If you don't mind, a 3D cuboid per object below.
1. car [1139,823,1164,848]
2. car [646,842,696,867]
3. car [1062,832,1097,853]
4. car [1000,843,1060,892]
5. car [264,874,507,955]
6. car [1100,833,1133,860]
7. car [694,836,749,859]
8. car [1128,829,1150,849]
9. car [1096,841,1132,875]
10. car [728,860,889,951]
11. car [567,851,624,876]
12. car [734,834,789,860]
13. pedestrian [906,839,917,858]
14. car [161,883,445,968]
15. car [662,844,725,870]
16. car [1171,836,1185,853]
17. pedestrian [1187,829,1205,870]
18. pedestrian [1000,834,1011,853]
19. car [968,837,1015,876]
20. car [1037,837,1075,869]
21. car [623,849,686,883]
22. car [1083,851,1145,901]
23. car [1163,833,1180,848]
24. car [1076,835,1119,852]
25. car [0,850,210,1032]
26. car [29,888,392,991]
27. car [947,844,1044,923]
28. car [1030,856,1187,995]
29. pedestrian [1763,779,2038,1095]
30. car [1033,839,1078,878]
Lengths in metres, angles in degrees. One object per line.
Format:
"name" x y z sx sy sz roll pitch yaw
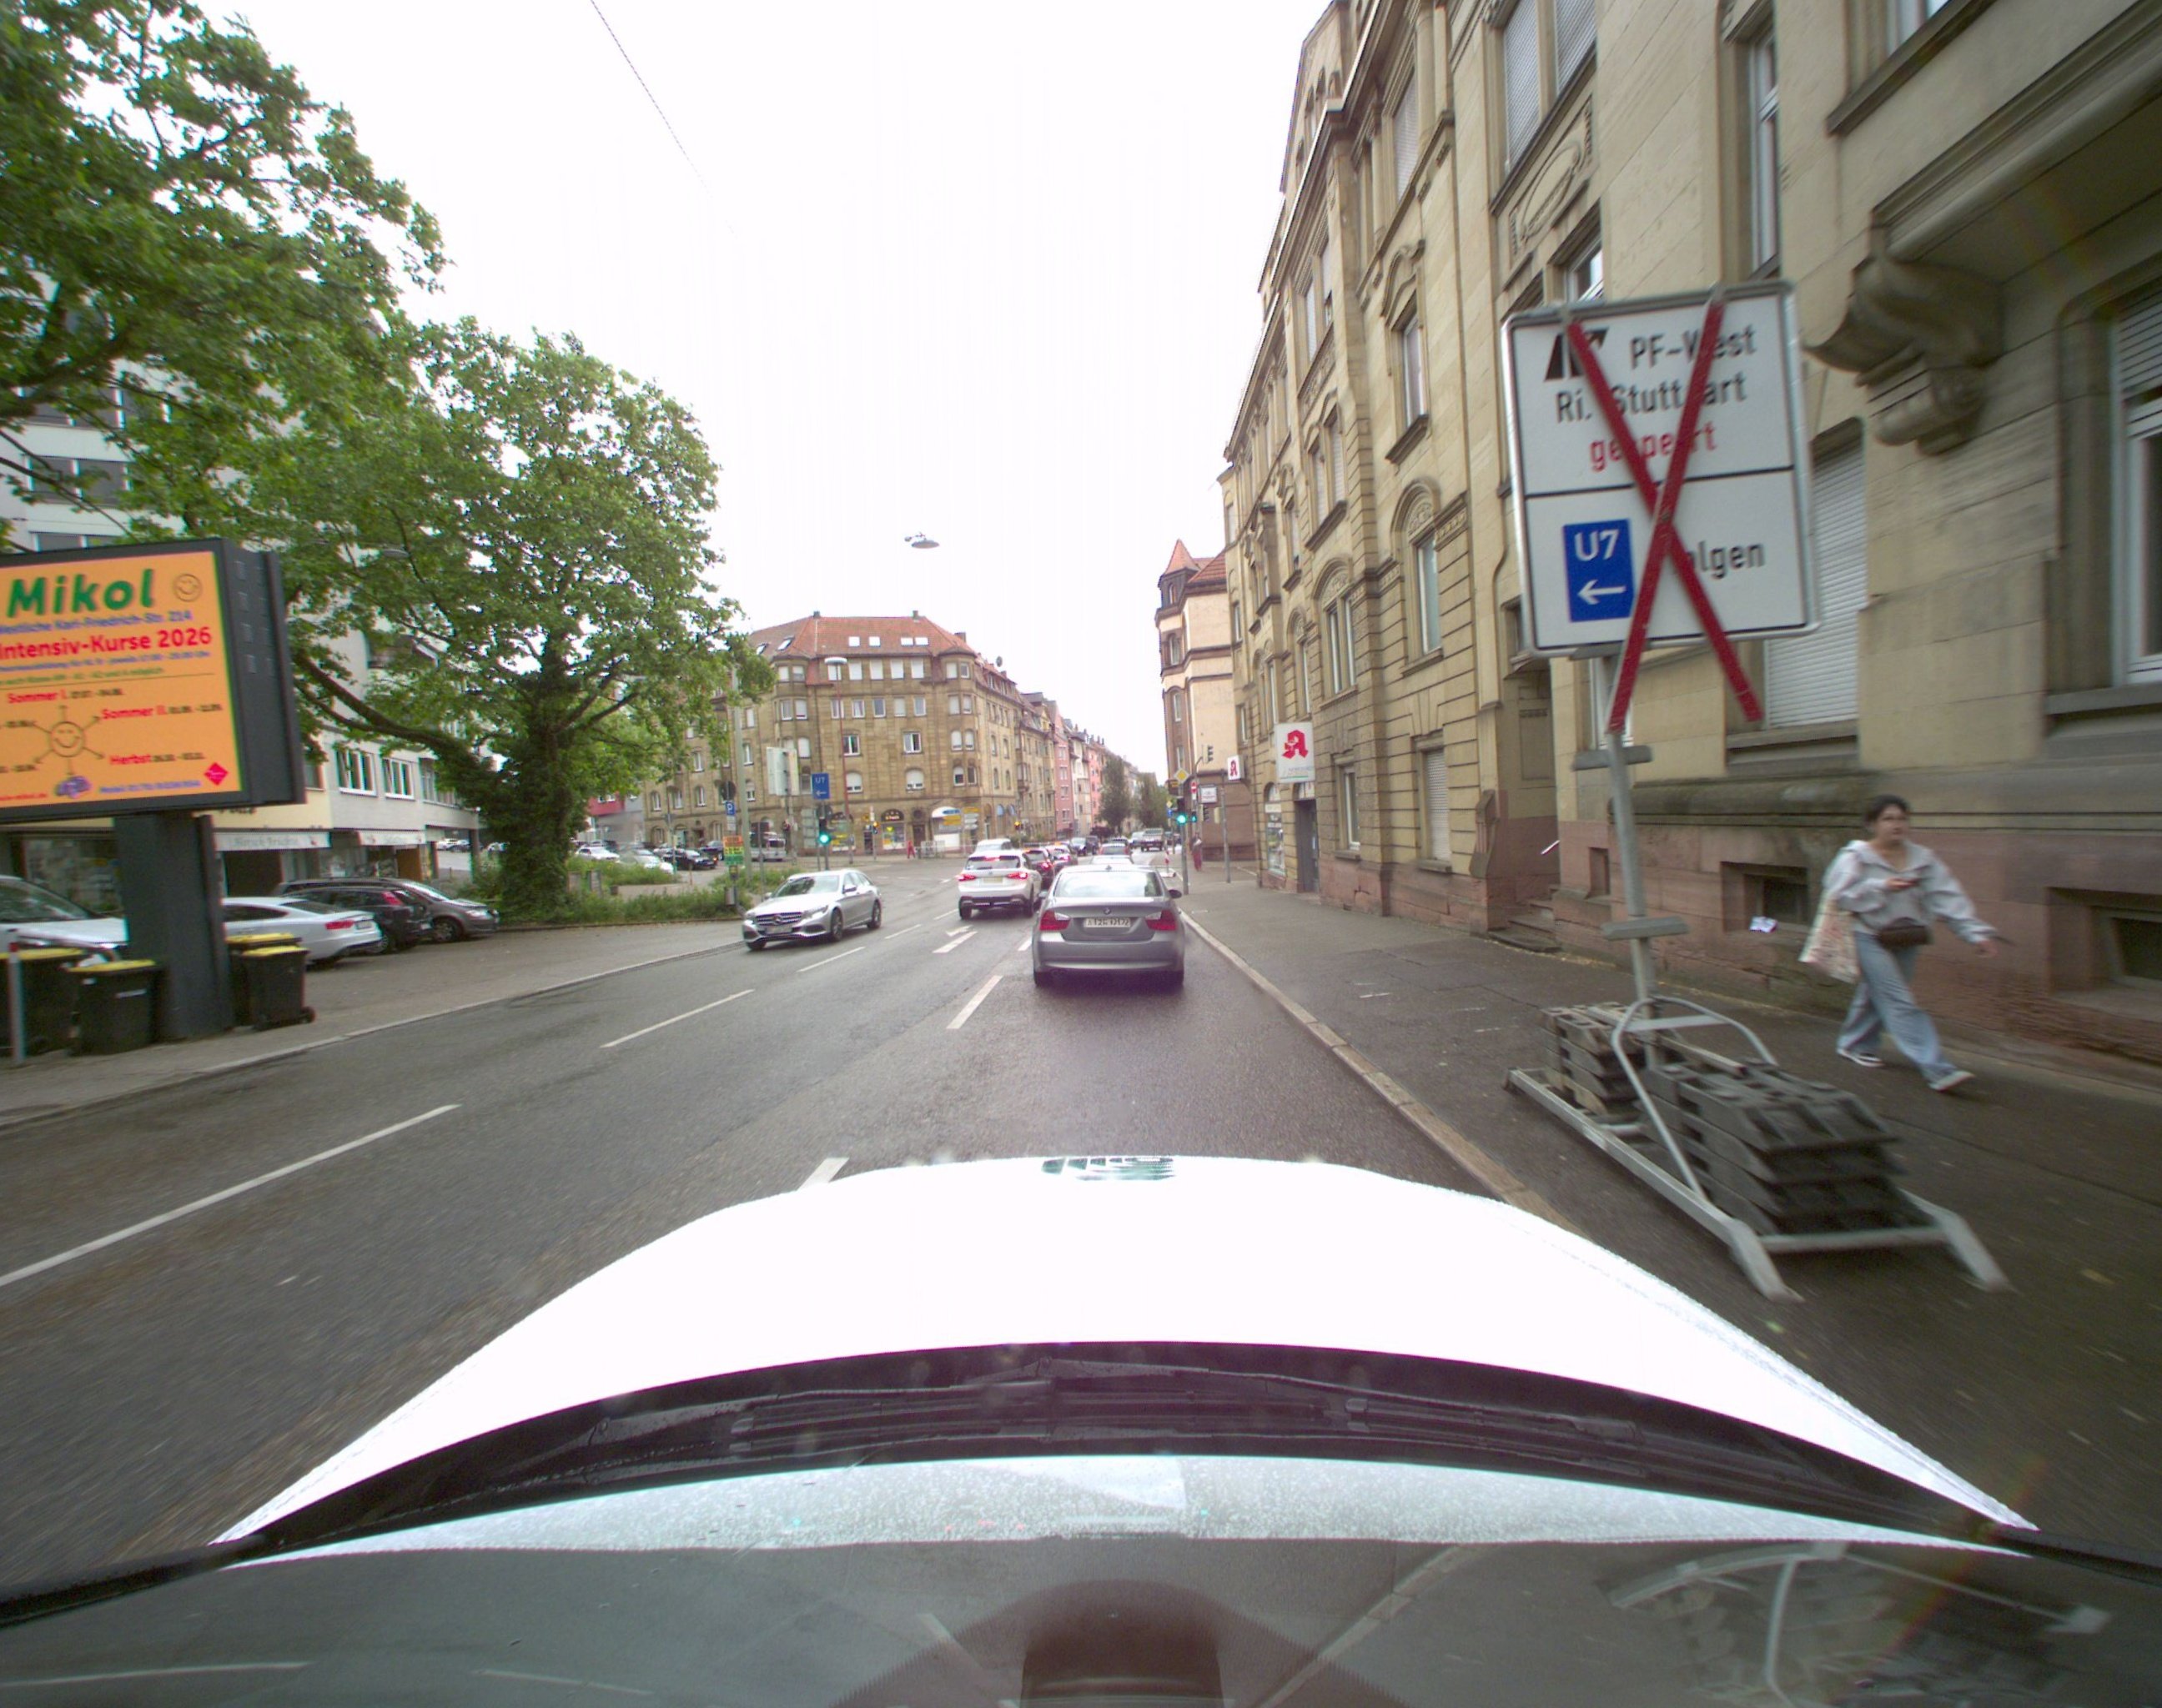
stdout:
"car" 6.208 -1.584 71.645 1.986 2.106 4.002 -1 0 2
"car" -36.969 0.031 73.374 4.238 2.101 2.013 1 2 30
"car" -0.092 -0.878 64.103 1.831 1.541 4.014 0 -1 13
"car" -1.853 0.474 30.976 1.752 1.707 4.004 -1 0 3
"car" -16.919 1.415 20.076 4.138 1.653 1.757 -2 0 -21
"car" 2.242 -0.465 50.195 1.751 1.567 4.007 -2 0 6
"car" -30.134 -0.538 68.247 4.238 1.838 2.013 1 2 30
"car" 6.451 -1.580 90.022 1.981 2.014 4.011 -3 -1 10
"car" 1.615 0.165 38.588 1.588 1.464 4.004 -2 0 4
"car" -5.665 0.983 17.592 1.731 1.526 4.474 -5 0 2
"car" -38.029 0.750 63.816 4.195 1.726 2.013 -1 3 31
"car" -26.437 -0.600 67.373 4.238 2.101 2.013 1 2 30
"pedestrian" -14.108 -0.459 67.855 0.531 1.577 0.724 -3 0 30
"car" -16.466 1.463 17.511 3.984 1.450 1.758 -2 0 -19
"car" -27.289 0.223 57.316 4.194 1.726 2.013 0 2 33
"car" 12.326 -1.178 103.634 1.715 2.014 4.009 0 -1 8
"pedestrian" 5.530 -0.228 39.163 0.739 1.910 0.659 -3 0 1
"pedestrian" -6.594 -0.912 71.200 0.727 1.577 0.530 -2 0 11
"car" -4.646 0.108 43.037 1.754 1.925 4.326 -3 0 2
"car" -1.359 -0.067 45.981 1.752 1.707 4.004 -1 0 3
"car" -27.469 0.800 52.449 3.948 2.013 1.890 -3 0 34
"car" 1.075 0.632 25.605 1.752 1.383 4.004 -1 0 3
"car" 10.157 -1.479 91.409 1.717 1.552 4.005 0 -1 4
"car" 2.002 -1.301 99.503 5.157 2.014 2.699 0 -1 1
"car" -14.641 1.110 9.933 5.075 2.105 1.980 -2 0 -19
"car" -15.757 1.483 15.058 4.183 1.456 1.783 -2 0 -19
"car" -2.075 0.665 20.912 1.861 1.625 4.003 -3 2 2
"car" 0.401 0.760 10.367 1.616 1.383 3.619 -1 0 3
"pedestrian" 4.363 0.410 4.397 0.629 1.508 0.693 -6 0 1
"car" -1.164 0.180 38.677 1.752 1.707 4.004 -1 0 3
